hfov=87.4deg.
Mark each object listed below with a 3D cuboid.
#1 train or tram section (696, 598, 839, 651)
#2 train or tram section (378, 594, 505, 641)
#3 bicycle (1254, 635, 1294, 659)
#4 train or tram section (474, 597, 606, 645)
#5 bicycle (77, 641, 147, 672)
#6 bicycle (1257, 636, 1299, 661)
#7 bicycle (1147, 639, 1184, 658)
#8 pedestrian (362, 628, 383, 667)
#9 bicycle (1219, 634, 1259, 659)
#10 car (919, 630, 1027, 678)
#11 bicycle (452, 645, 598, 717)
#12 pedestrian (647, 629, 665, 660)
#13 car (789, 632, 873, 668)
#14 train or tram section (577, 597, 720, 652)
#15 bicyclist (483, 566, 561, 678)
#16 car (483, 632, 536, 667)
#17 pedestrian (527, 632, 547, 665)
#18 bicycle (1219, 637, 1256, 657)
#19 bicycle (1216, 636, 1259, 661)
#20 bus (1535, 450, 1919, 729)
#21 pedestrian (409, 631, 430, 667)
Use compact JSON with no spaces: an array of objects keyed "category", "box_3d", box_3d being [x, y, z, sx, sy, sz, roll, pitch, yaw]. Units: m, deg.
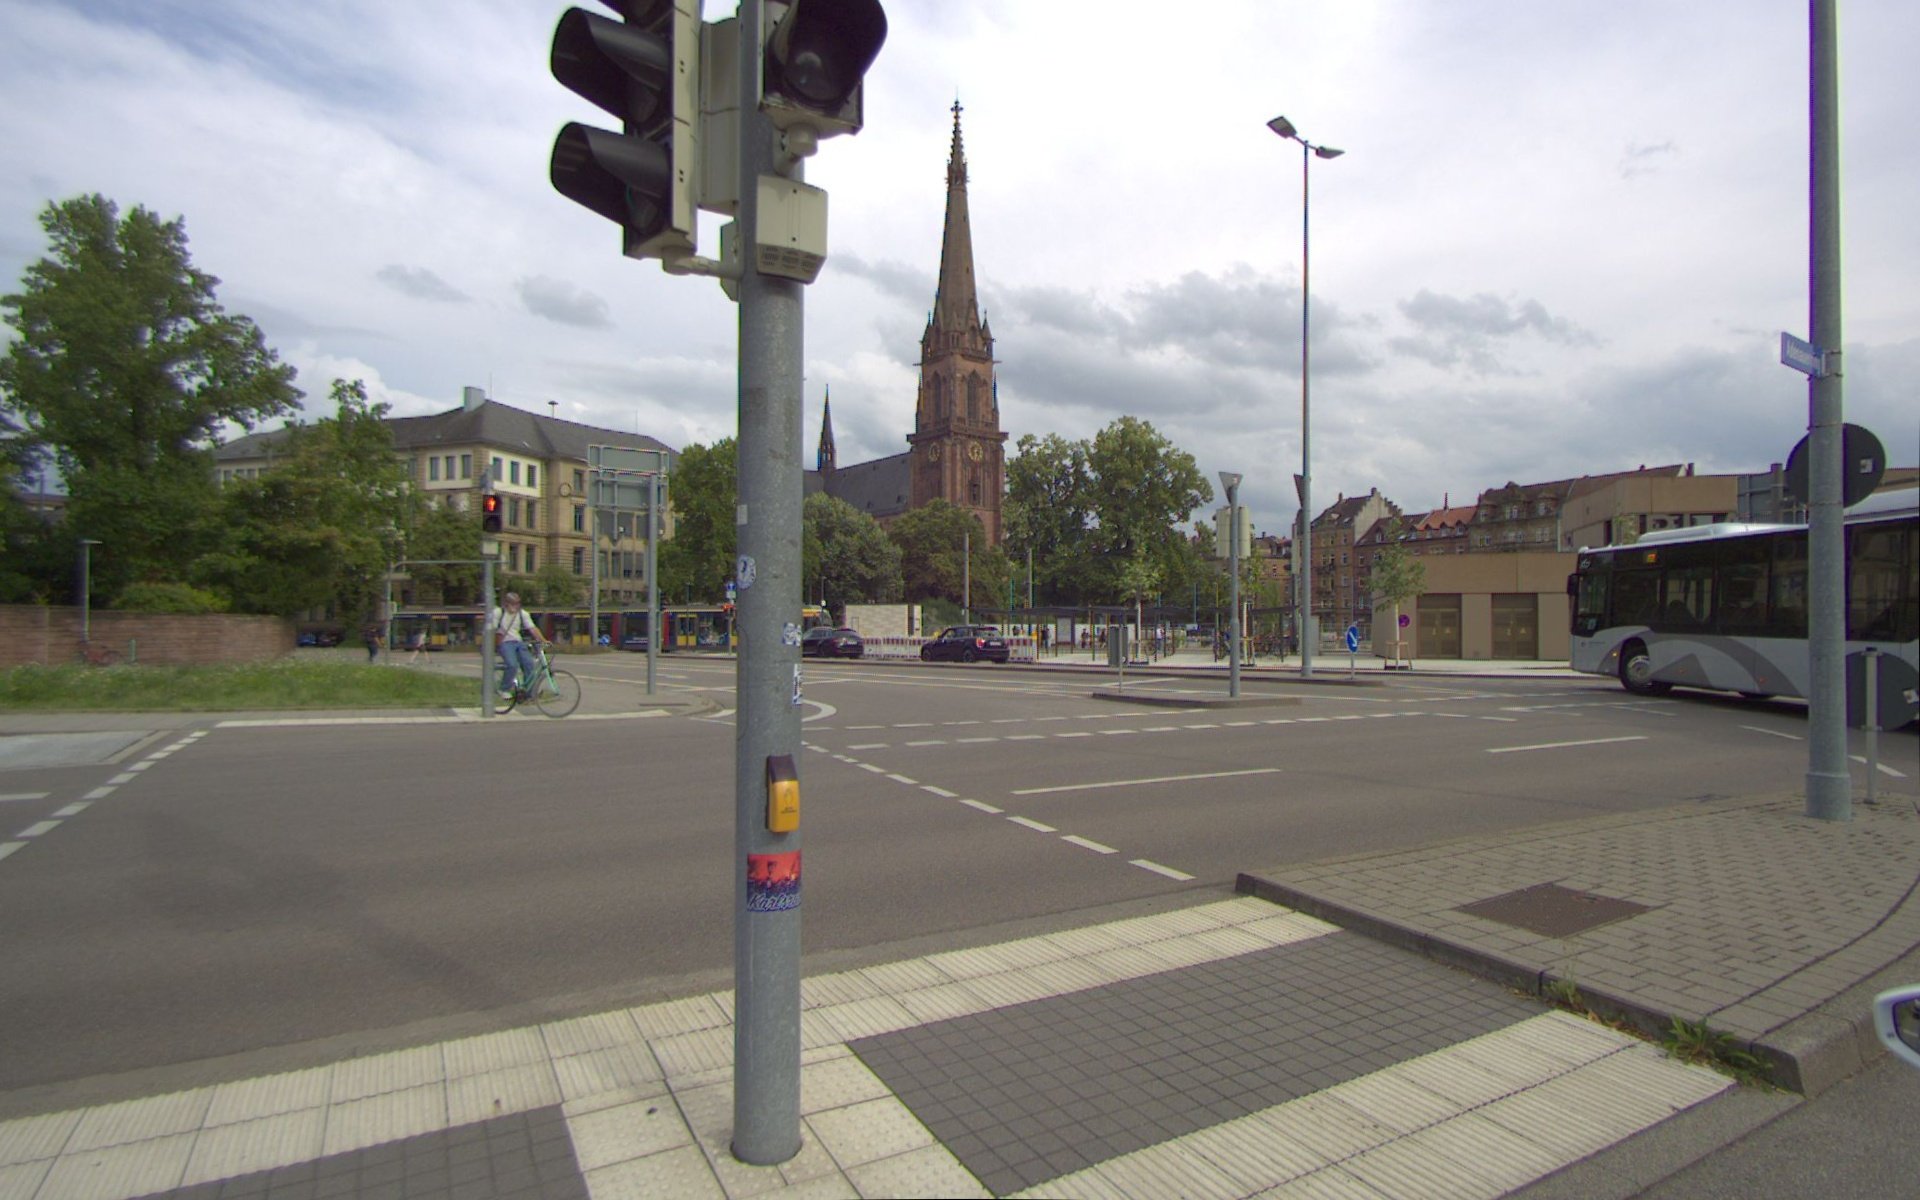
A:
[{"category":"train or tram section","box_3d":[-13.285,1.637,69.364,9.312,3.290,3.063,2,0,18]},{"category":"train or tram section","box_3d":[-40.198,1.314,77.908,9.183,3.321,3.063,2,0,18]},{"category":"bicycle","box_3d":[16.442,2.465,52.621,1.926,1.171,0.584,2,0,9]},{"category":"train or tram section","box_3d":[-31.424,1.517,75.136,9.242,3.255,3.063,2,0,18]},{"category":"bicycle","box_3d":[-31.290,2.072,37.098,0.763,1.018,1.927,2,0,11]},{"category":"bicycle","box_3d":[16.199,2.451,51.184,1.926,1.171,0.584,2,0,9]},{"category":"bicycle","box_3d":[11.056,2.601,54.060,1.927,0.968,0.584,2,0,15]},{"category":"pedestrian","box_3d":[-27.026,2.169,46.200,0.791,1.734,0.832,2,0,-33]},{"category":"bicycle","box_3d":[14.391,2.402,51.853,1.926,1.171,0.584,2,0,9]},{"category":"car","box_3d":[0.423,1.932,36.907,1.982,1.506,3.957,2,0,-37]},{"category":"bicycle","box_3d":[-6.321,1.165,14.605,1.931,0.948,0.506,2,-2,9]},{"category":"pedestrian","box_3d":[-17.610,2.589,58.191,0.791,1.734,0.832,2,0,-33]},{"category":"car","box_3d":[-5.844,2.223,45.111,1.981,1.379,4.230,2,0,-36]},{"category":"train or tram section","box_3d":[-22.387,1.705,72.215,9.732,3.496,3.063,2,0,18]},{"category":"bicyclist","box_3d":[-6.378,0.327,14.655,0.782,1.575,0.580,2,-2,9]},{"category":"car","box_3d":[-29.810,3.242,66.418,1.987,2.040,3.948,2,0,-44]},{"category":"pedestrian","box_3d":[-22.464,2.565,53.332,0.791,1.734,0.832,2,0,-33]},{"category":"bicycle","box_3d":[14.967,2.524,54.198,1.927,0.983,0.584,2,0,15]},{"category":"bicycle","box_3d":[13.567,2.366,49.189,1.926,1.171,0.584,2,0,9]},{"category":"bus","box_3d":[13.720,0.025,15.846,2.658,3.483,14.196,0,-3,7]},{"category":"pedestrian","box_3d":[-26.484,2.408,49.215,0.791,1.734,0.832,2,0,-33]}]
